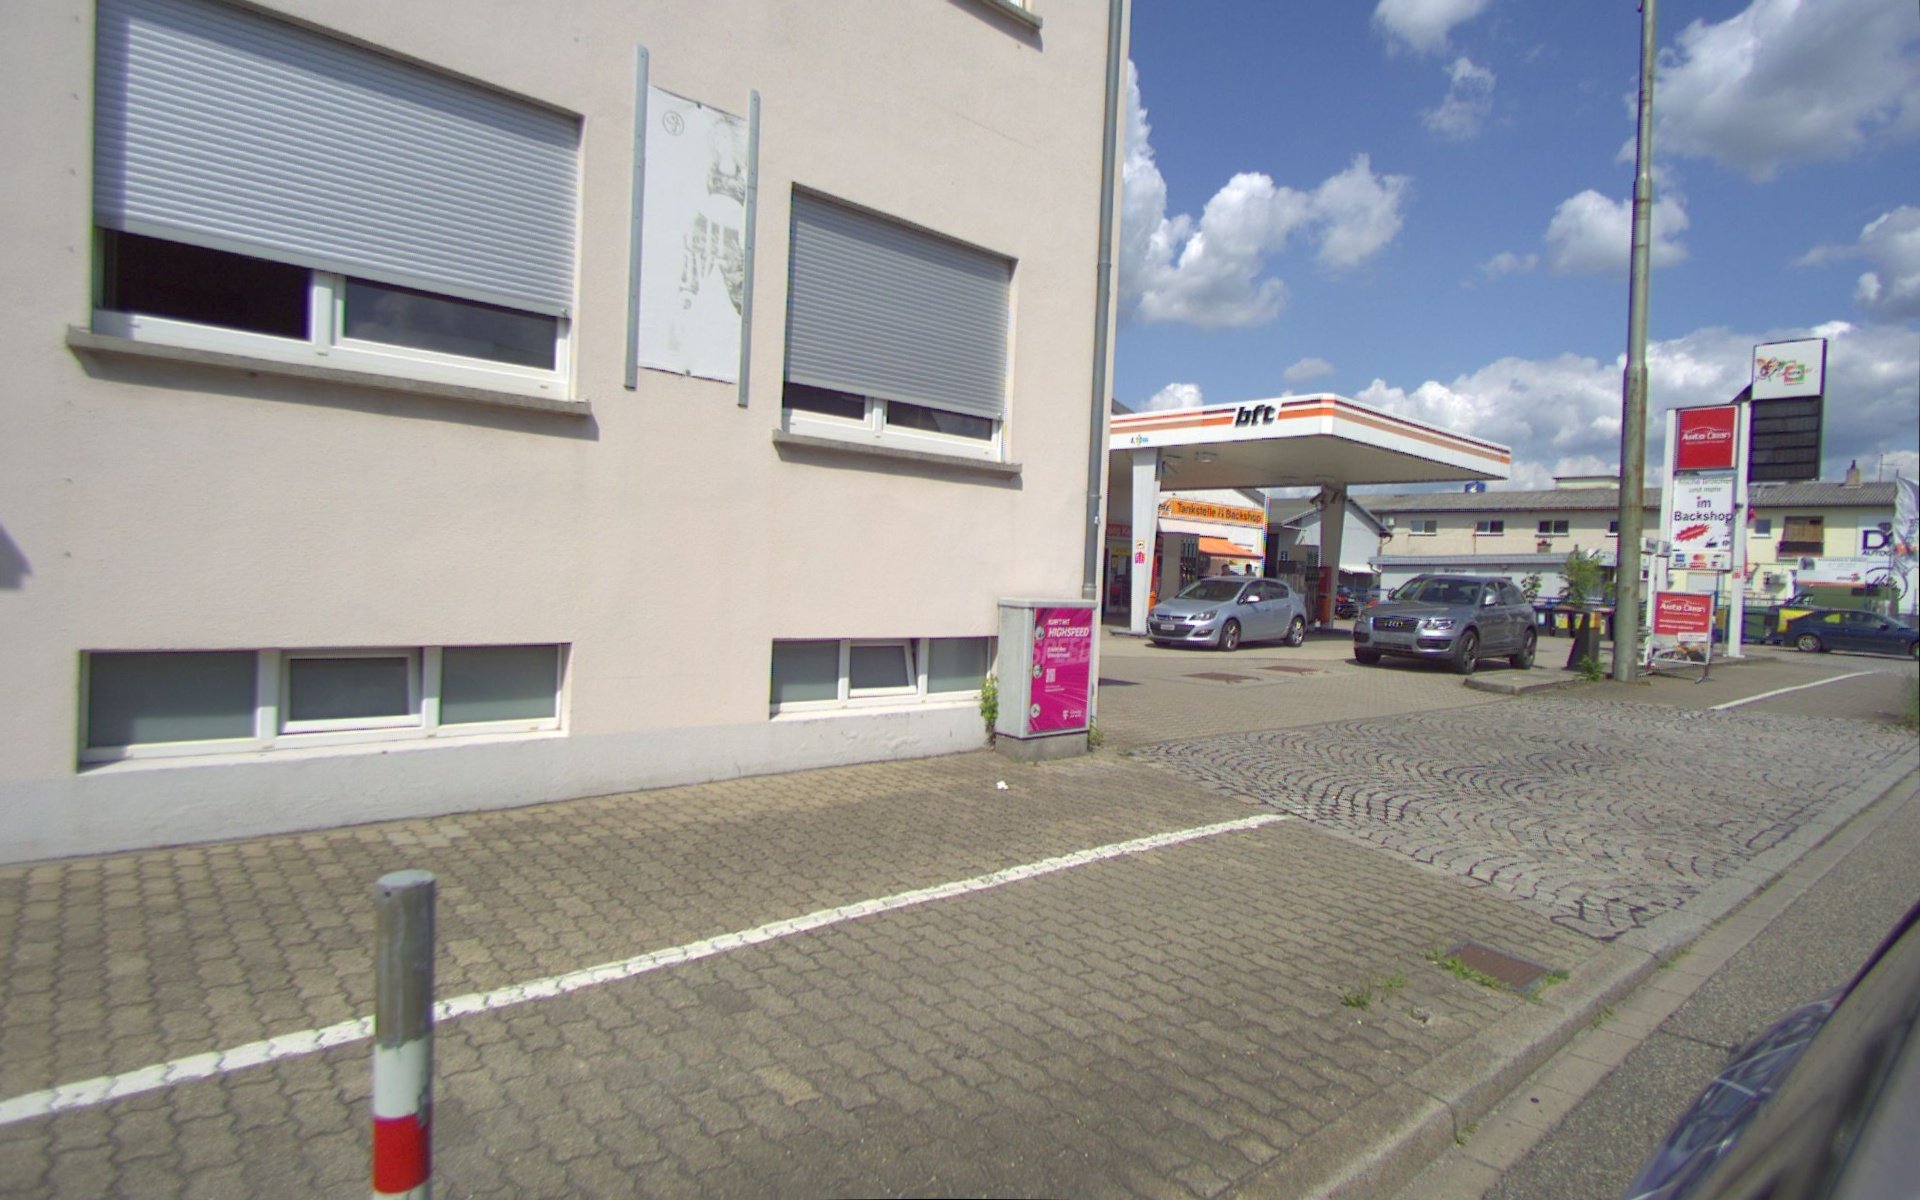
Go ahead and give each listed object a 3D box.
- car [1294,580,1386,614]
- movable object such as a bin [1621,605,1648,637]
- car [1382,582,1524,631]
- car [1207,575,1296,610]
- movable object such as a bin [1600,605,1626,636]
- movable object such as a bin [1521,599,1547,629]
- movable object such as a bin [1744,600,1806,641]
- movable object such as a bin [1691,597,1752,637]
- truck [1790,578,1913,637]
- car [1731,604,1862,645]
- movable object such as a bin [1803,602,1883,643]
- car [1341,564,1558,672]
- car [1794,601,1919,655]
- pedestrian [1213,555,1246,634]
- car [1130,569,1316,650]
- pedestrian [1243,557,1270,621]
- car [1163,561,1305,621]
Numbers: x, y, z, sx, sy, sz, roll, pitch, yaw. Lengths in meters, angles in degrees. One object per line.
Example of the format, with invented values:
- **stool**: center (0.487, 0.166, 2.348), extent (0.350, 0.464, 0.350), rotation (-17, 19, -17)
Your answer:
- **car**: center (15.952, -0.153, 42.600), extent (1.461, 1.240, 3.311), rotation (0, 3, -39)
- **movable object such as a bin**: center (22.240, 0.684, 33.344), extent (0.694, 1.023, 0.581), rotation (0, 1, -42)
- **car**: center (17.469, 0.193, 36.028), extent (1.739, 1.442, 4.146), rotation (0, 3, -39)
- **car**: center (13.243, -0.364, 46.051), extent (1.525, 1.330, 3.646), rotation (0, 3, -39)
- **movable object such as a bin**: center (21.799, 0.672, 33.784), extent (0.694, 1.023, 0.581), rotation (0, 1, -42)
- **movable object such as a bin**: center (20.170, 0.489, 35.567), extent (0.694, 1.023, 0.581), rotation (0, 1, -42)
- **movable object such as a bin**: center (30.178, 0.740, 37.482), extent (1.735, 1.428, 1.534), rotation (0, 1, -41)
- **movable object such as a bin**: center (29.042, 0.624, 38.601), extent (1.735, 1.428, 1.534), rotation (0, 1, -41)
- **truck**: center (42.906, 0.297, 48.776), extent (2.071, 2.694, 4.180), rotation (0, 1, -39)
- **car**: center (34.965, 0.971, 42.403), extent (1.592, 1.481, 3.918), rotation (0, 2, -24)
- **movable object such as a bin**: center (31.642, 0.791, 36.264), extent (1.679, 1.364, 1.966), rotation (0, 1, -41)
- **car**: center (8.859, 0.271, 18.144), extent (4.537, 1.645, 1.949), rotation (0, 3, -43)
- **car**: center (27.934, 0.832, 30.453), extent (1.616, 1.425, 4.068), rotation (0, 2, -34)
- **pedestrian**: center (6.190, -0.128, 23.224), extent (0.568, 1.799, 0.497), rotation (0, 0, -43)
- **car**: center (5.558, 0.151, 21.084), extent (4.350, 1.489, 1.694), rotation (0, 2, -44)
- **pedestrian**: center (8.213, -0.320, 28.002), extent (0.678, 1.744, 0.615), rotation (1, 0, 19)
- **car**: center (7.846, -0.278, 28.772), extent (4.414, 1.538, 1.686), rotation (-1, 4, -41)
